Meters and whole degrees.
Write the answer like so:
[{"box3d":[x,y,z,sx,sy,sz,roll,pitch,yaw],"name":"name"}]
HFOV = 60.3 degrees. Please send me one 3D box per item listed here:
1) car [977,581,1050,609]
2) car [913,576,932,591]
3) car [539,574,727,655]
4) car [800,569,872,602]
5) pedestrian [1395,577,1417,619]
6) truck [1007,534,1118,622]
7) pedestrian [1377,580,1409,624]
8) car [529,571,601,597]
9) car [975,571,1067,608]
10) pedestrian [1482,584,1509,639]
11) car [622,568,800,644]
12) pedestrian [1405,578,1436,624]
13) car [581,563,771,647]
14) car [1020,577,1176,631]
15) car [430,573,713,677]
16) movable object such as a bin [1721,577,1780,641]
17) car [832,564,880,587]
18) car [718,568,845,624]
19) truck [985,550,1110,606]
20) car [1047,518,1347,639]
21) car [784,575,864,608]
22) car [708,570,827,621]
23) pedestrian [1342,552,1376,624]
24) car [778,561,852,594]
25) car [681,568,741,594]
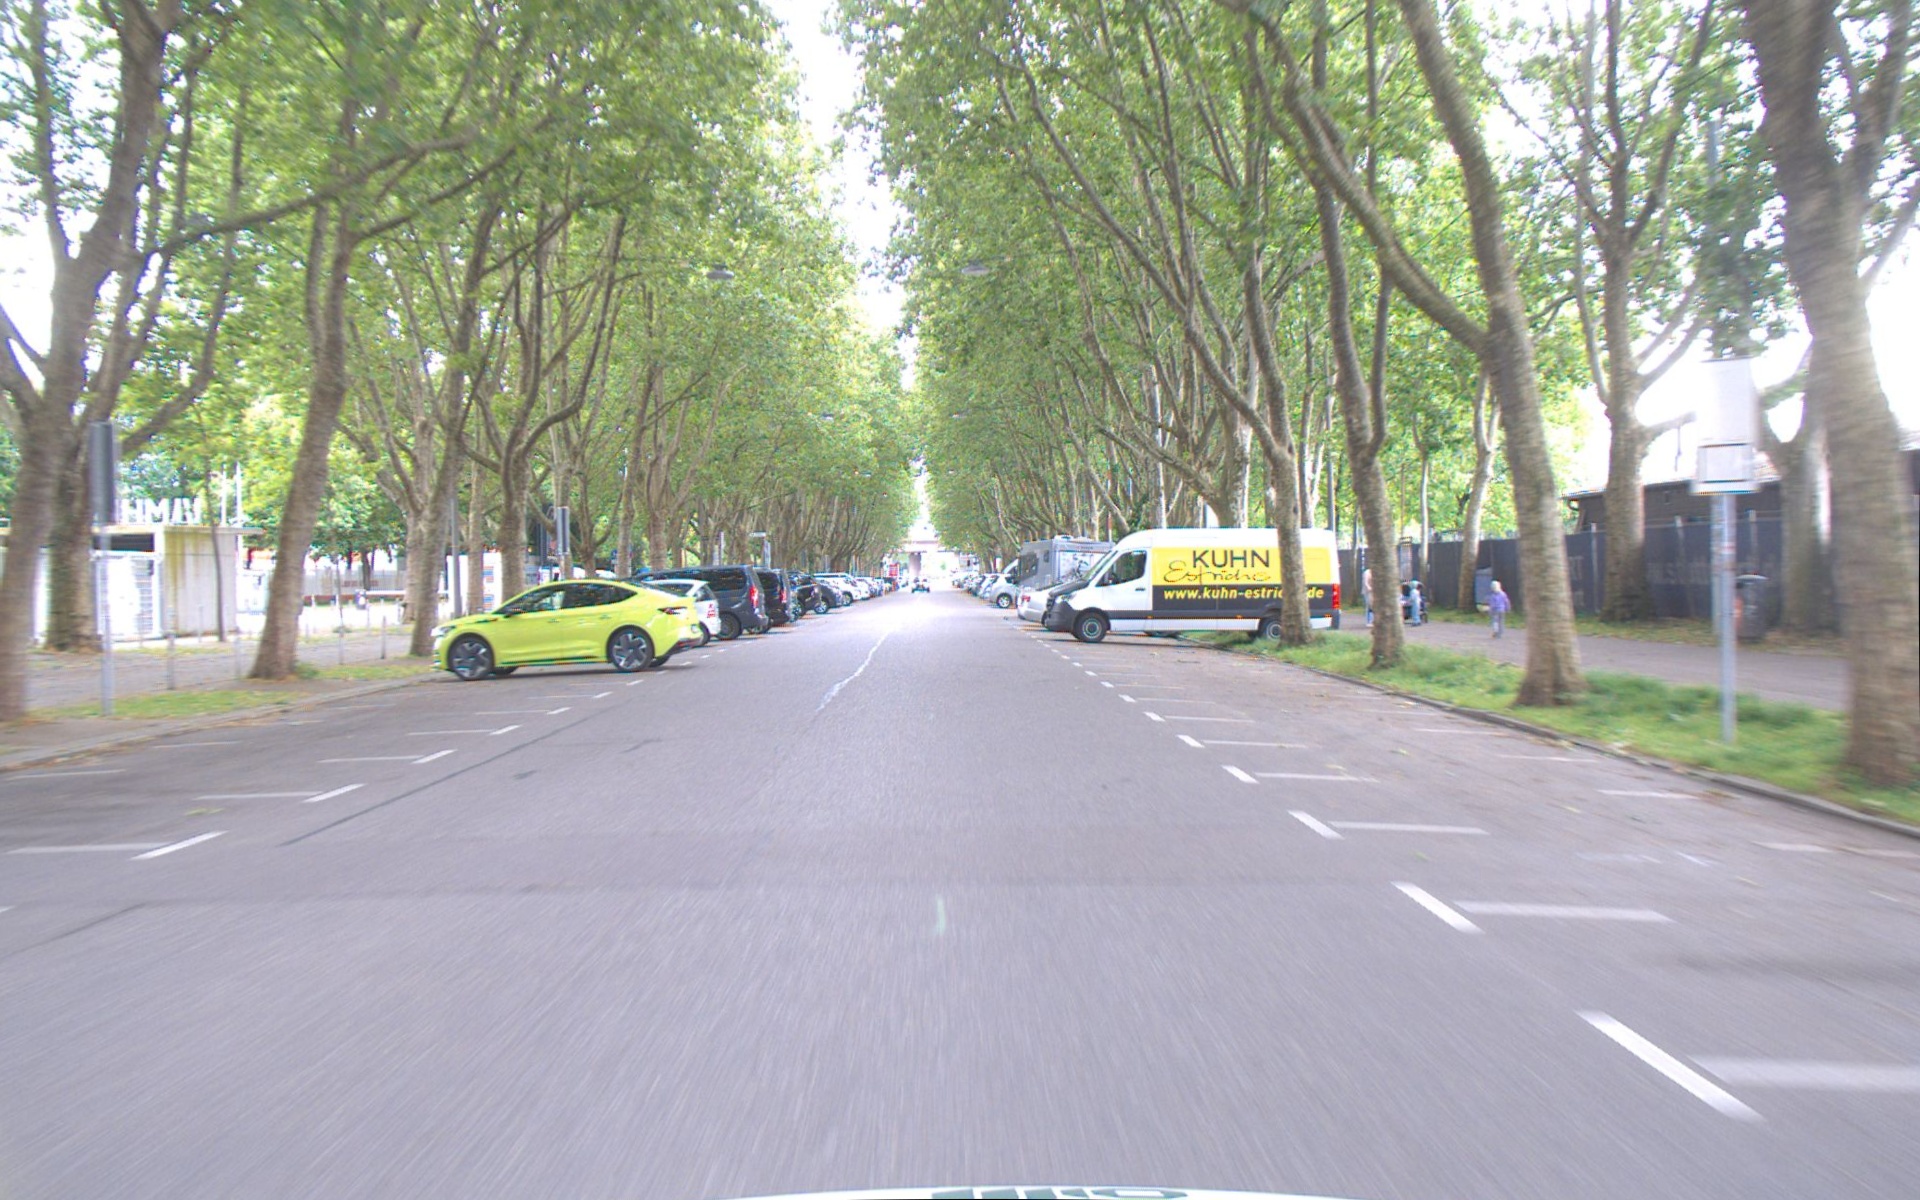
[{"box3d":[2.979,-0.270,92.477,4.035,1.454,1.703,2,0,1],"name":"car"},{"box3d":[-3.741,-1.610,163.493,1.622,1.387,4.109,-4,1,-4],"name":"car"},{"box3d":[-7.532,0.319,38.396,4.026,1.596,1.756,-3,1,-6],"name":"car"},{"box3d":[-8.606,-0.990,114.837,4.795,2.054,1.919,-3,0,-2],"name":"car"},{"box3d":[11.383,-0.051,42.230,0.415,1.053,0.391,0,0,-41],"name":"pedestrian"},{"box3d":[3.604,-0.792,59.983,2.413,2.989,7.522,0,1,-9],"name":"truck"},{"box3d":[10.604,0.047,40.529,0.626,1.078,0.676,0,0,0],"name":"pedestrian"},{"box3d":[-34.675,-1.391,145.253,5.880,2.292,2.000,0,0,-1],"name":"car"},{"box3d":[2.845,-0.484,77.571,4.250,1.646,1.804,1,1,2],"name":"car"},{"box3d":[10.883,0.234,33.617,0.387,1.103,0.419,-3,0,3],"name":"pedestrian"},{"box3d":[-7.237,0.157,48.461,4.805,1.957,2.208,-3,1,0],"name":"car"},{"box3d":[11.311,0.021,40.650,0.580,1.067,0.589,-3,1,2],"name":"pedestrian"},{"box3d":[-7.394,0.110,43.486,4.670,1.957,2.016,-3,1,-6],"name":"car"},{"box3d":[3.840,0.099,46.279,4.268,1.471,1.613,0,0,3],"name":"car"},{"box3d":[-6.666,0.415,28.673,4.423,1.646,1.758,-1,1,1],"name":"car"},{"box3d":[12.915,0.144,27.036,0.557,0.975,0.674,-6,1,-2],"name":"movable object such as a bin"},{"box3d":[-8.323,-1.979,132.089,3.752,1.656,1.951,-3,1,-4],"name":"car"},{"box3d":[-7.850,-0.187,72.989,5.327,2.164,1.939,-3,1,-3],"name":"car"},{"box3d":[4.336,-1.079,82.478,6.163,2.762,2.098,0,0,2],"name":"truck"},{"box3d":[5.463,-0.503,38.798,6.739,2.742,2.127,0,0,0],"name":"car"},{"box3d":[-7.545,-0.488,91.999,4.292,1.624,1.999,-3,1,-3],"name":"car"},{"box3d":[-7.689,-0.171,65.882,4.570,1.852,1.801,-2,-1,-11],"name":"car"},{"box3d":[10.016,-0.310,41.539,0.626,1.771,0.621,-3,1,2],"name":"pedestrian"},{"box3d":[-8.722,-1.380,99.739,4.254,1.696,1.999,-4,1,-3],"name":"car"},{"box3d":[-24.872,-1.901,165.419,5.668,2.642,2.000,0,0,-1],"name":"car"}]
